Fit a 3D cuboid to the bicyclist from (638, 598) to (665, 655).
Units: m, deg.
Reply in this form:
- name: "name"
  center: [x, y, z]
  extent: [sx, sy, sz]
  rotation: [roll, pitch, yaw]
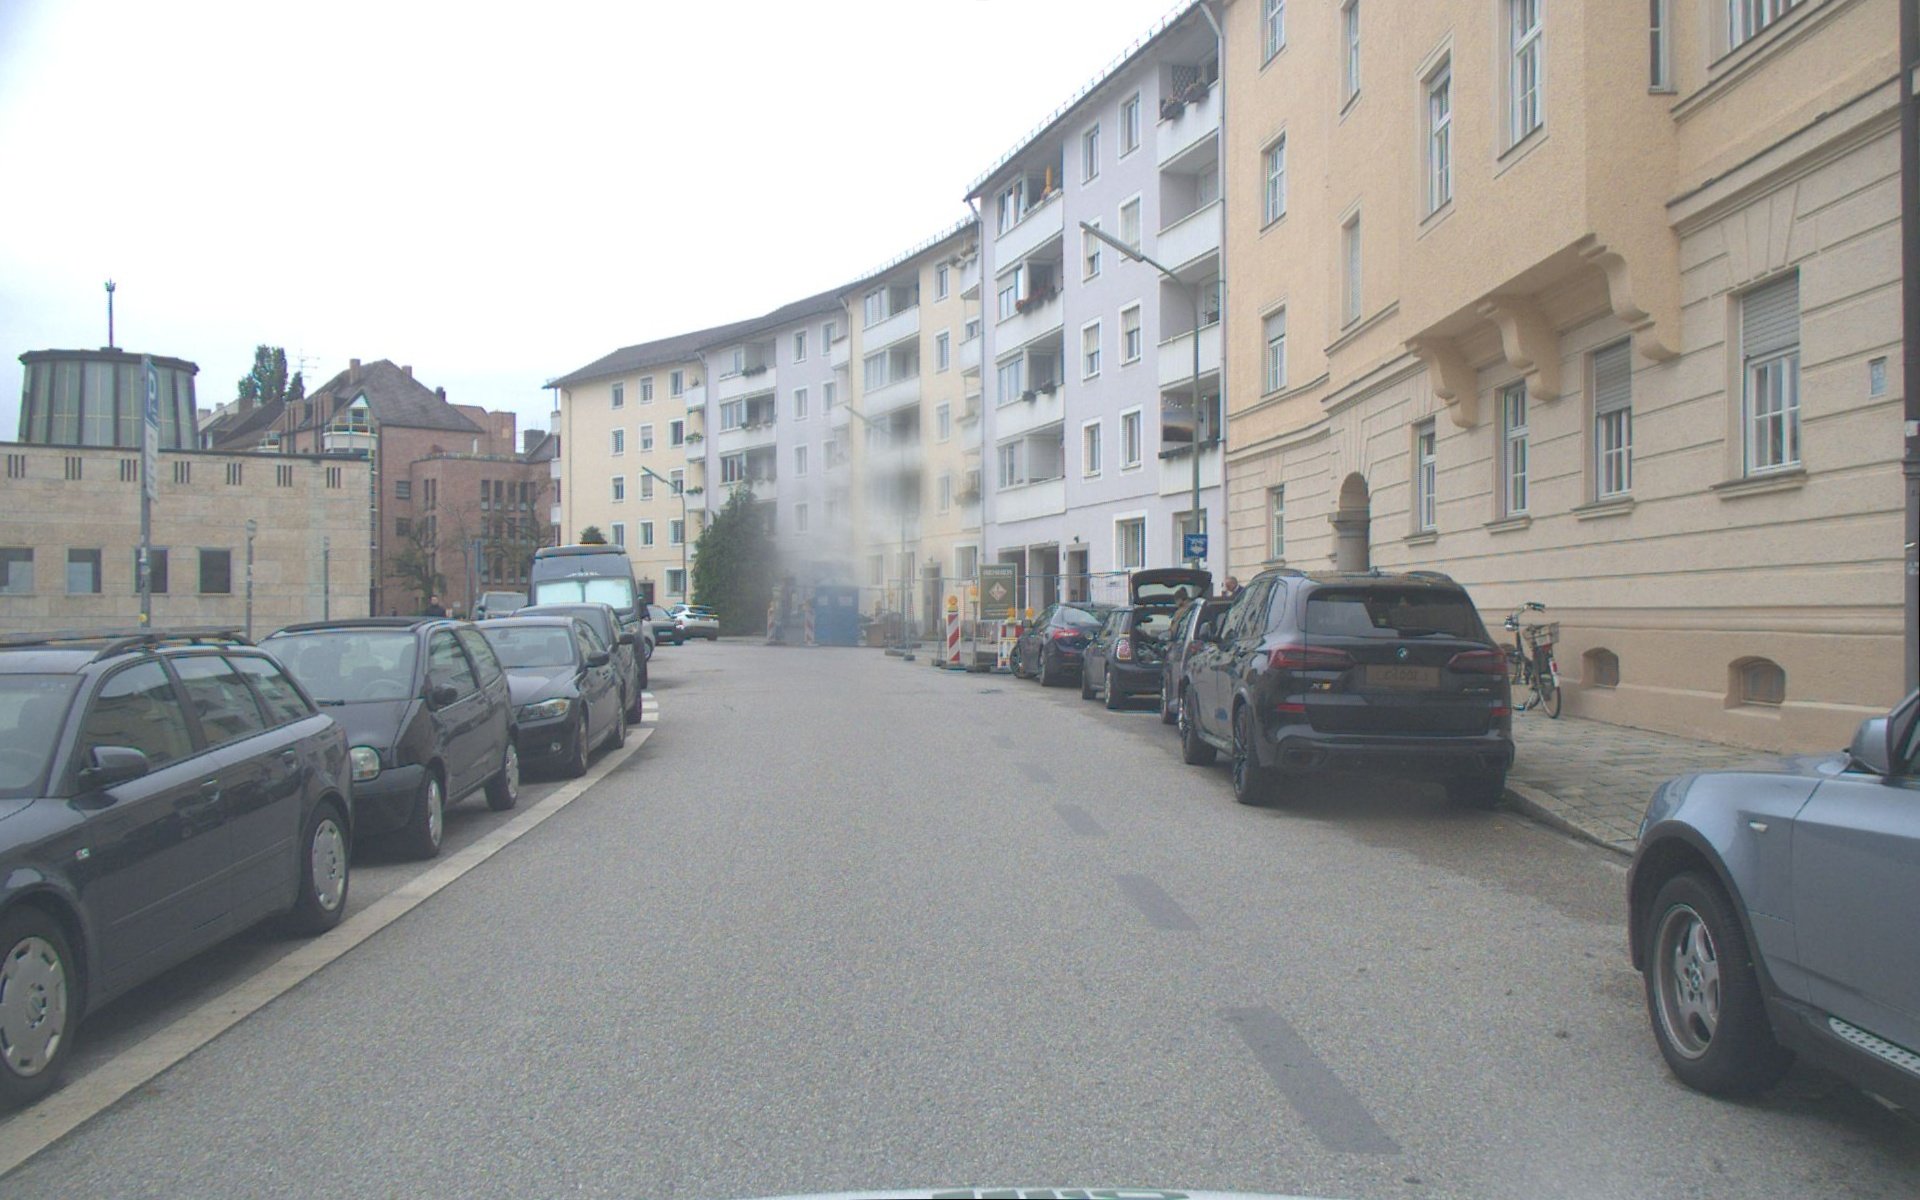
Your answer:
- name: "bicyclist"
  center: [-10.022, 0.861, 53.656]
  extent: [0.732, 1.802, 0.812]
  rotation: [-3, 1, -14]

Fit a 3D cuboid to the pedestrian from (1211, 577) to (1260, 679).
- name: "pedestrian"
  center: [4.806, 0.489, 28.892]
  extent: [0.605, 1.720, 0.919]
  rotation: [-3, -1, -1]

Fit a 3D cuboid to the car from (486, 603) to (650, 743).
- name: "car"
  center: [-4.677, 0.820, 20.057]
  extent: [1.490, 1.491, 2.883]
  rotation: [-2, 0, -6]

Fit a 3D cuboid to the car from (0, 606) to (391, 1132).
- name: "car"
  center: [-3.666, 0.817, 6.292]
  extent: [1.598, 1.520, 4.274]
  rotation: [-2, 0, -2]

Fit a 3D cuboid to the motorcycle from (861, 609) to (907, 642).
- name: "motorcycle"
  center: [-2.900, 0.952, 62.683]
  extent: [0.920, 1.242, 2.488]
  rotation: [0, 0, -24]

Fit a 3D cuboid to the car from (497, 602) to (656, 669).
- name: "car"
  center: [-9.967, 0.909, 43.144]
  extent: [1.682, 1.534, 3.791]
  rotation: [-2, 0, 39]

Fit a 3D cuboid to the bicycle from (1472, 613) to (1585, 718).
- name: "bicycle"
  center: [6.310, 0.694, 18.469]
  extent: [0.491, 1.067, 2.138]
  rotation: [-3, 0, 1]

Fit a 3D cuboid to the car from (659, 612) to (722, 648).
- name: "car"
  center: [-12.442, 1.357, 76.248]
  extent: [1.808, 1.601, 3.966]
  rotation: [0, -1, -26]

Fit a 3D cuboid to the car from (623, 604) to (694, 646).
- name: "car"
  center: [-11.275, 0.939, 61.635]
  extent: [1.891, 1.436, 4.678]
  rotation: [-3, 0, -19]

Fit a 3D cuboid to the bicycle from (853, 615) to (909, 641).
- name: "bicycle"
  center: [-3.381, 1.198, 70.693]
  extent: [2.204, 1.088, 0.912]
  rotation: [0, -1, -25]

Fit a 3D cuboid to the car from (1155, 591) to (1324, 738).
- name: "car"
  center: [3.224, 0.696, 19.540]
  extent: [1.483, 1.582, 3.019]
  rotation: [1, 0, 0]

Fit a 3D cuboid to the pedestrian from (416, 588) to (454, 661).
- name: "pedestrian"
  center: [-13.962, 0.648, 43.970]
  extent: [0.833, 1.899, 0.707]
  rotation: [1, -1, -29]

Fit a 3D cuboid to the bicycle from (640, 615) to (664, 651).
- name: "bicycle"
  center: [-10.004, 1.065, 53.653]
  extent: [0.576, 1.088, 1.929]
  rotation: [-2, 1, -15]

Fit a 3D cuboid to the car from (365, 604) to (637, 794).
- name: "car"
  center: [-4.268, 0.831, 16.074]
  extent: [1.740, 1.491, 4.461]
  rotation: [-2, 0, -6]

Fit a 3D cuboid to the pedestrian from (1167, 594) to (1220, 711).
- name: "pedestrian"
  center: [3.158, 0.705, 22.399]
  extent: [0.616, 1.555, 0.578]
  rotation: [1, 0, -2]

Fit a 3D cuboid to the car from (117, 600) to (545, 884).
- name: "car"
  center: [-4.010, 0.803, 11.179]
  extent: [1.598, 1.520, 3.602]
  rotation: [-3, 0, -3]

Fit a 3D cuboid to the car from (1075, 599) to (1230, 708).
- name: "car"
  center: [2.725, 0.723, 24.136]
  extent: [1.598, 1.442, 3.677]
  rotation: [1, 0, -4]

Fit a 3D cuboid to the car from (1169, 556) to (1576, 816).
- name: "car"
  center: [3.172, 0.589, 13.934]
  extent: [2.125, 1.769, 5.023]
  rotation: [1, 0, -1]

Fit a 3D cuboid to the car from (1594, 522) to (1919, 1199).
- name: "car"
  center: [3.271, 0.657, 3.764]
  extent: [1.809, 1.692, 4.496]
  rotation: [0, 0, -2]

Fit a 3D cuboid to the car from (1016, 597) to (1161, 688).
- name: "car"
  center: [2.259, 0.713, 30.396]
  extent: [1.871, 1.503, 4.941]
  rotation: [1, 0, -5]

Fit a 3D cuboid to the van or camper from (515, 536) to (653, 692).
- name: "van or camper"
  center: [-6.988, 0.226, 30.992]
  extent: [2.257, 2.626, 6.067]
  rotation: [1, 0, -12]
